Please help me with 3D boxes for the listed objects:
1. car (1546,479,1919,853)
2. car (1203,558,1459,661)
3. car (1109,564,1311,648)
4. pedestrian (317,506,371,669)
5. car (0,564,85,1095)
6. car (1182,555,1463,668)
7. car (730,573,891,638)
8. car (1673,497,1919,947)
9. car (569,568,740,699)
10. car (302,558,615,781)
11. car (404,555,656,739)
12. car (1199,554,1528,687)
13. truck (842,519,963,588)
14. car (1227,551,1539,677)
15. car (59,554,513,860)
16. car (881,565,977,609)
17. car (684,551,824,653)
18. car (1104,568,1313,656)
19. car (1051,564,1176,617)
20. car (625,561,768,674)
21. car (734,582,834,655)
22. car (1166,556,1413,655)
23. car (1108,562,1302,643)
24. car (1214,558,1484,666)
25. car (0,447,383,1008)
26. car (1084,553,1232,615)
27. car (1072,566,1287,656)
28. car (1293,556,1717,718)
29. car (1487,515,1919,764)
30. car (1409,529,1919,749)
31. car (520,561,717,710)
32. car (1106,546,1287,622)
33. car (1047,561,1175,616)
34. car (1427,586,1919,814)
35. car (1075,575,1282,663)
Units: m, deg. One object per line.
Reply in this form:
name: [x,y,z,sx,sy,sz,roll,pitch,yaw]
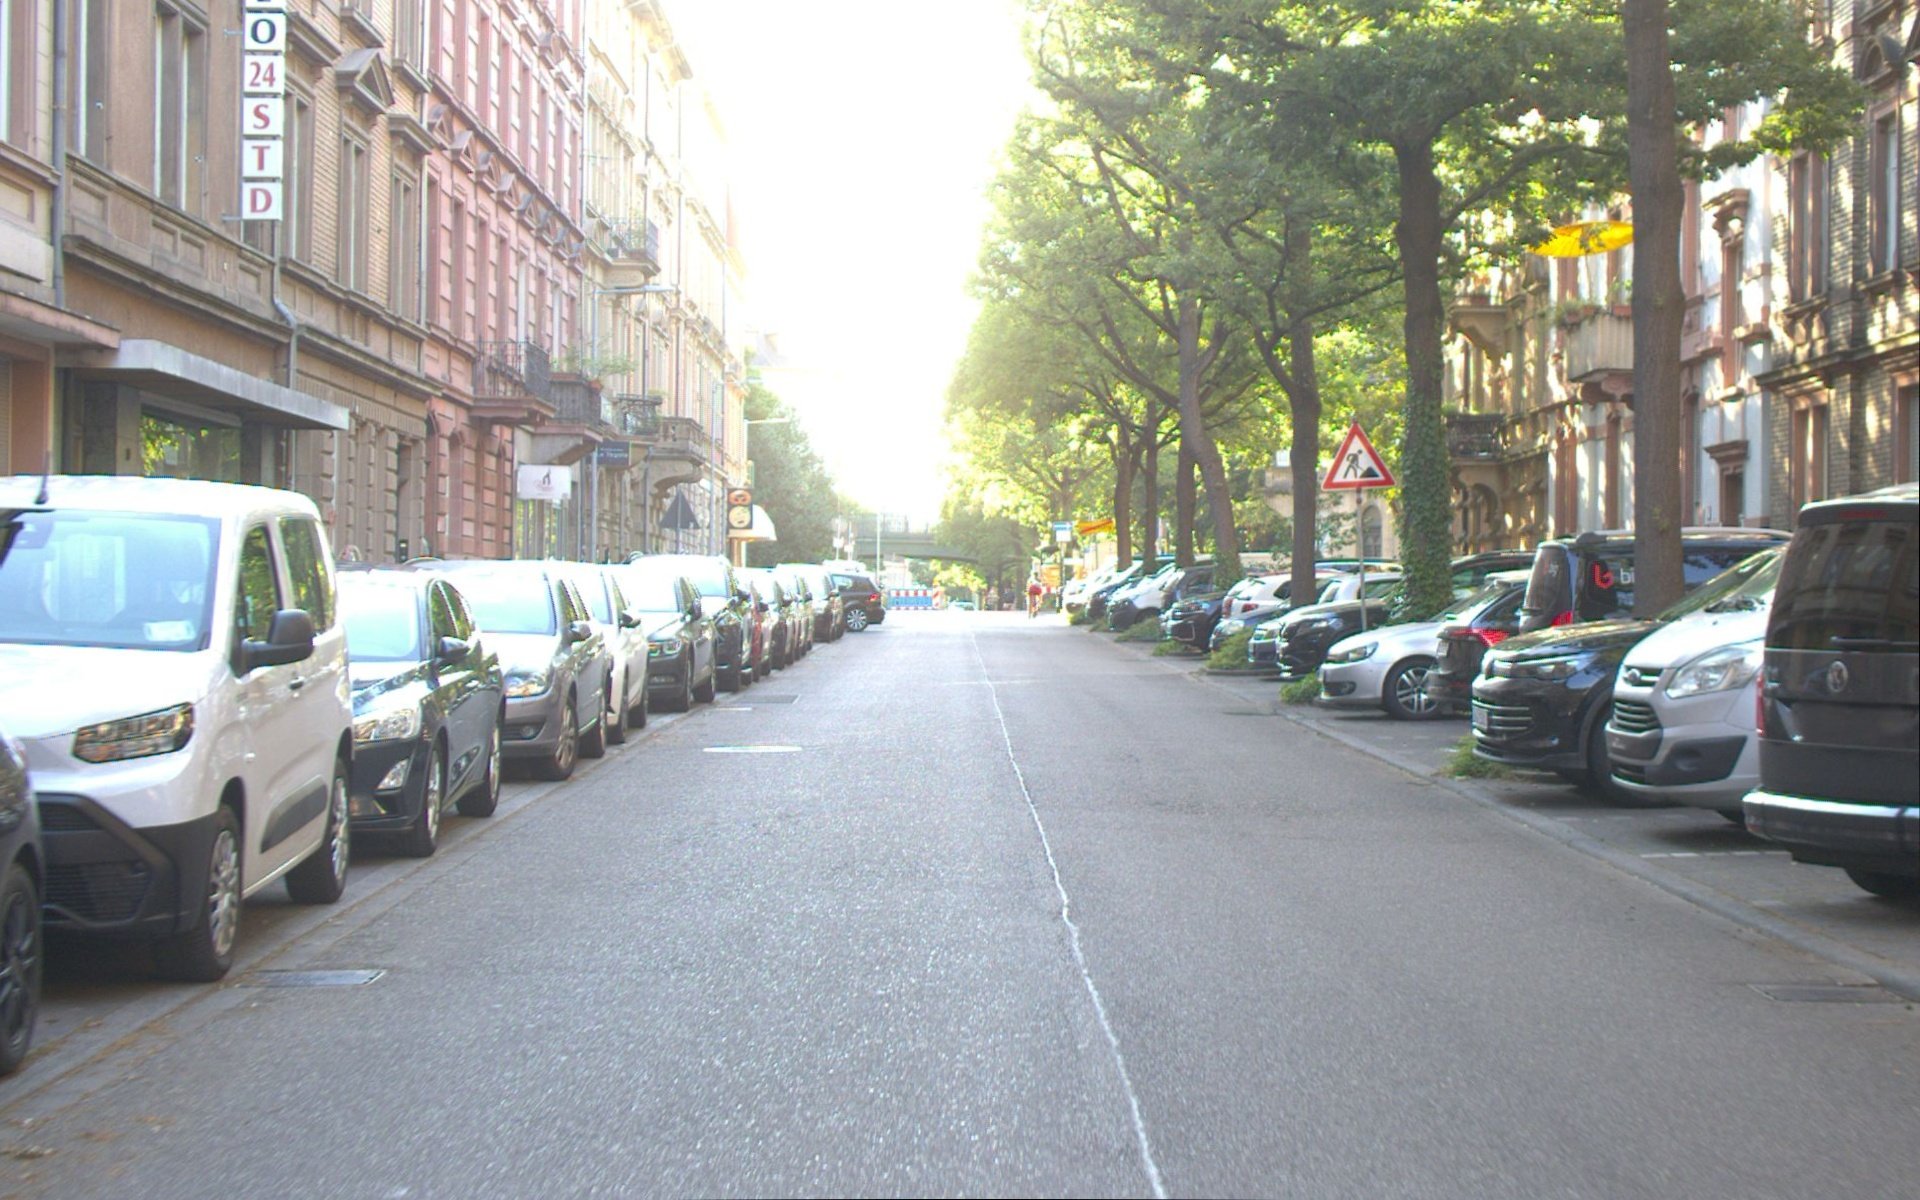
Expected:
car: [5.931,0.294,18.907,5.057,1.919,1.835,-1,1,0]
car: [6.070,0.139,56.441,3.849,1.568,1.718,-2,1,-8]
car: [4.971,0.112,68.747,3.850,1.568,1.718,-1,1,-1]
pedestrian: [-7.090,-0.143,39.584,0.499,1.855,0.463,1,0,-1]
car: [-3.480,0.620,8.309,1.758,1.462,4.000,2,1,-2]
car: [5.397,0.156,51.427,3.849,1.568,1.718,-2,1,-8]
car: [-3.613,0.153,83.723,1.997,1.481,3.992,-1,-2,32]
car: [5.498,0.425,15.192,4.220,1.789,1.835,-2,1,-19]
car: [-3.551,0.357,40.543,1.758,1.468,4.060,0,1,-2]
car: [-3.500,0.434,24.656,1.758,1.468,4.060,0,1,-2]
car: [-3.618,0.351,29.525,1.758,1.468,4.060,0,1,-2]
car: [5.149,0.247,44.091,3.849,1.568,1.718,-2,1,-8]
truck: [-3.535,-2.892,212.980,7.223,3.937,2.437,2,0,-36]
car: [5.693,0.173,46.497,3.849,1.568,1.718,-2,1,-8]
car: [-3.501,0.492,18.554,1.758,1.468,4.060,0,1,-2]
car: [-1.361,-0.577,152.351,3.988,1.853,1.750,1,0,8]
car: [-3.137,0.059,53.058,1.993,1.481,4.000,0,-1,-1]
car: [4.749,0.220,66.045,3.850,1.568,1.718,-1,1,-1]
car: [4.850,-0.306,108.995,3.850,1.568,1.718,-1,1,-1]
car: [-3.560,0.208,47.034,1.758,1.468,4.060,0,1,-2]
car: [-3.712,0.421,73.193,1.993,1.481,4.000,0,-1,-1]
car: [5.579,0.083,58.476,3.849,1.568,1.718,-2,1,-8]
car: [5.062,0.048,71.328,3.850,1.568,1.718,-1,1,-1]
car: [6.069,0.176,53.830,3.849,1.568,1.718,-2,1,-8]
car: [-3.464,0.393,13.501,1.758,1.835,4.530,0,1,-2]
car: [5.372,-0.436,93.530,3.850,1.568,1.718,-1,1,-1]
car: [4.058,0.191,64.019,3.850,1.568,1.718,-1,1,0]
car: [5.366,0.346,34.133,3.849,1.474,1.718,-1,1,-3]
car: [6.186,0.271,26.610,3.849,1.791,1.718,-1,1,-3]
car: [5.856,0.306,28.875,3.849,1.694,1.718,-1,1,-3]
car: [-3.494,0.327,35.777,1.758,1.468,4.060,0,1,-2]
car: [5.221,-0.362,76.220,3.850,1.568,1.718,-1,1,-1]
car: [4.658,-0.363,106.531,3.850,1.568,1.718,-1,1,-1]
car: [5.049,0.594,21.803,3.849,1.289,1.718,-1,1,-3]
car: [4.177,0.354,66.145,3.850,1.568,1.718,-1,1,1]
